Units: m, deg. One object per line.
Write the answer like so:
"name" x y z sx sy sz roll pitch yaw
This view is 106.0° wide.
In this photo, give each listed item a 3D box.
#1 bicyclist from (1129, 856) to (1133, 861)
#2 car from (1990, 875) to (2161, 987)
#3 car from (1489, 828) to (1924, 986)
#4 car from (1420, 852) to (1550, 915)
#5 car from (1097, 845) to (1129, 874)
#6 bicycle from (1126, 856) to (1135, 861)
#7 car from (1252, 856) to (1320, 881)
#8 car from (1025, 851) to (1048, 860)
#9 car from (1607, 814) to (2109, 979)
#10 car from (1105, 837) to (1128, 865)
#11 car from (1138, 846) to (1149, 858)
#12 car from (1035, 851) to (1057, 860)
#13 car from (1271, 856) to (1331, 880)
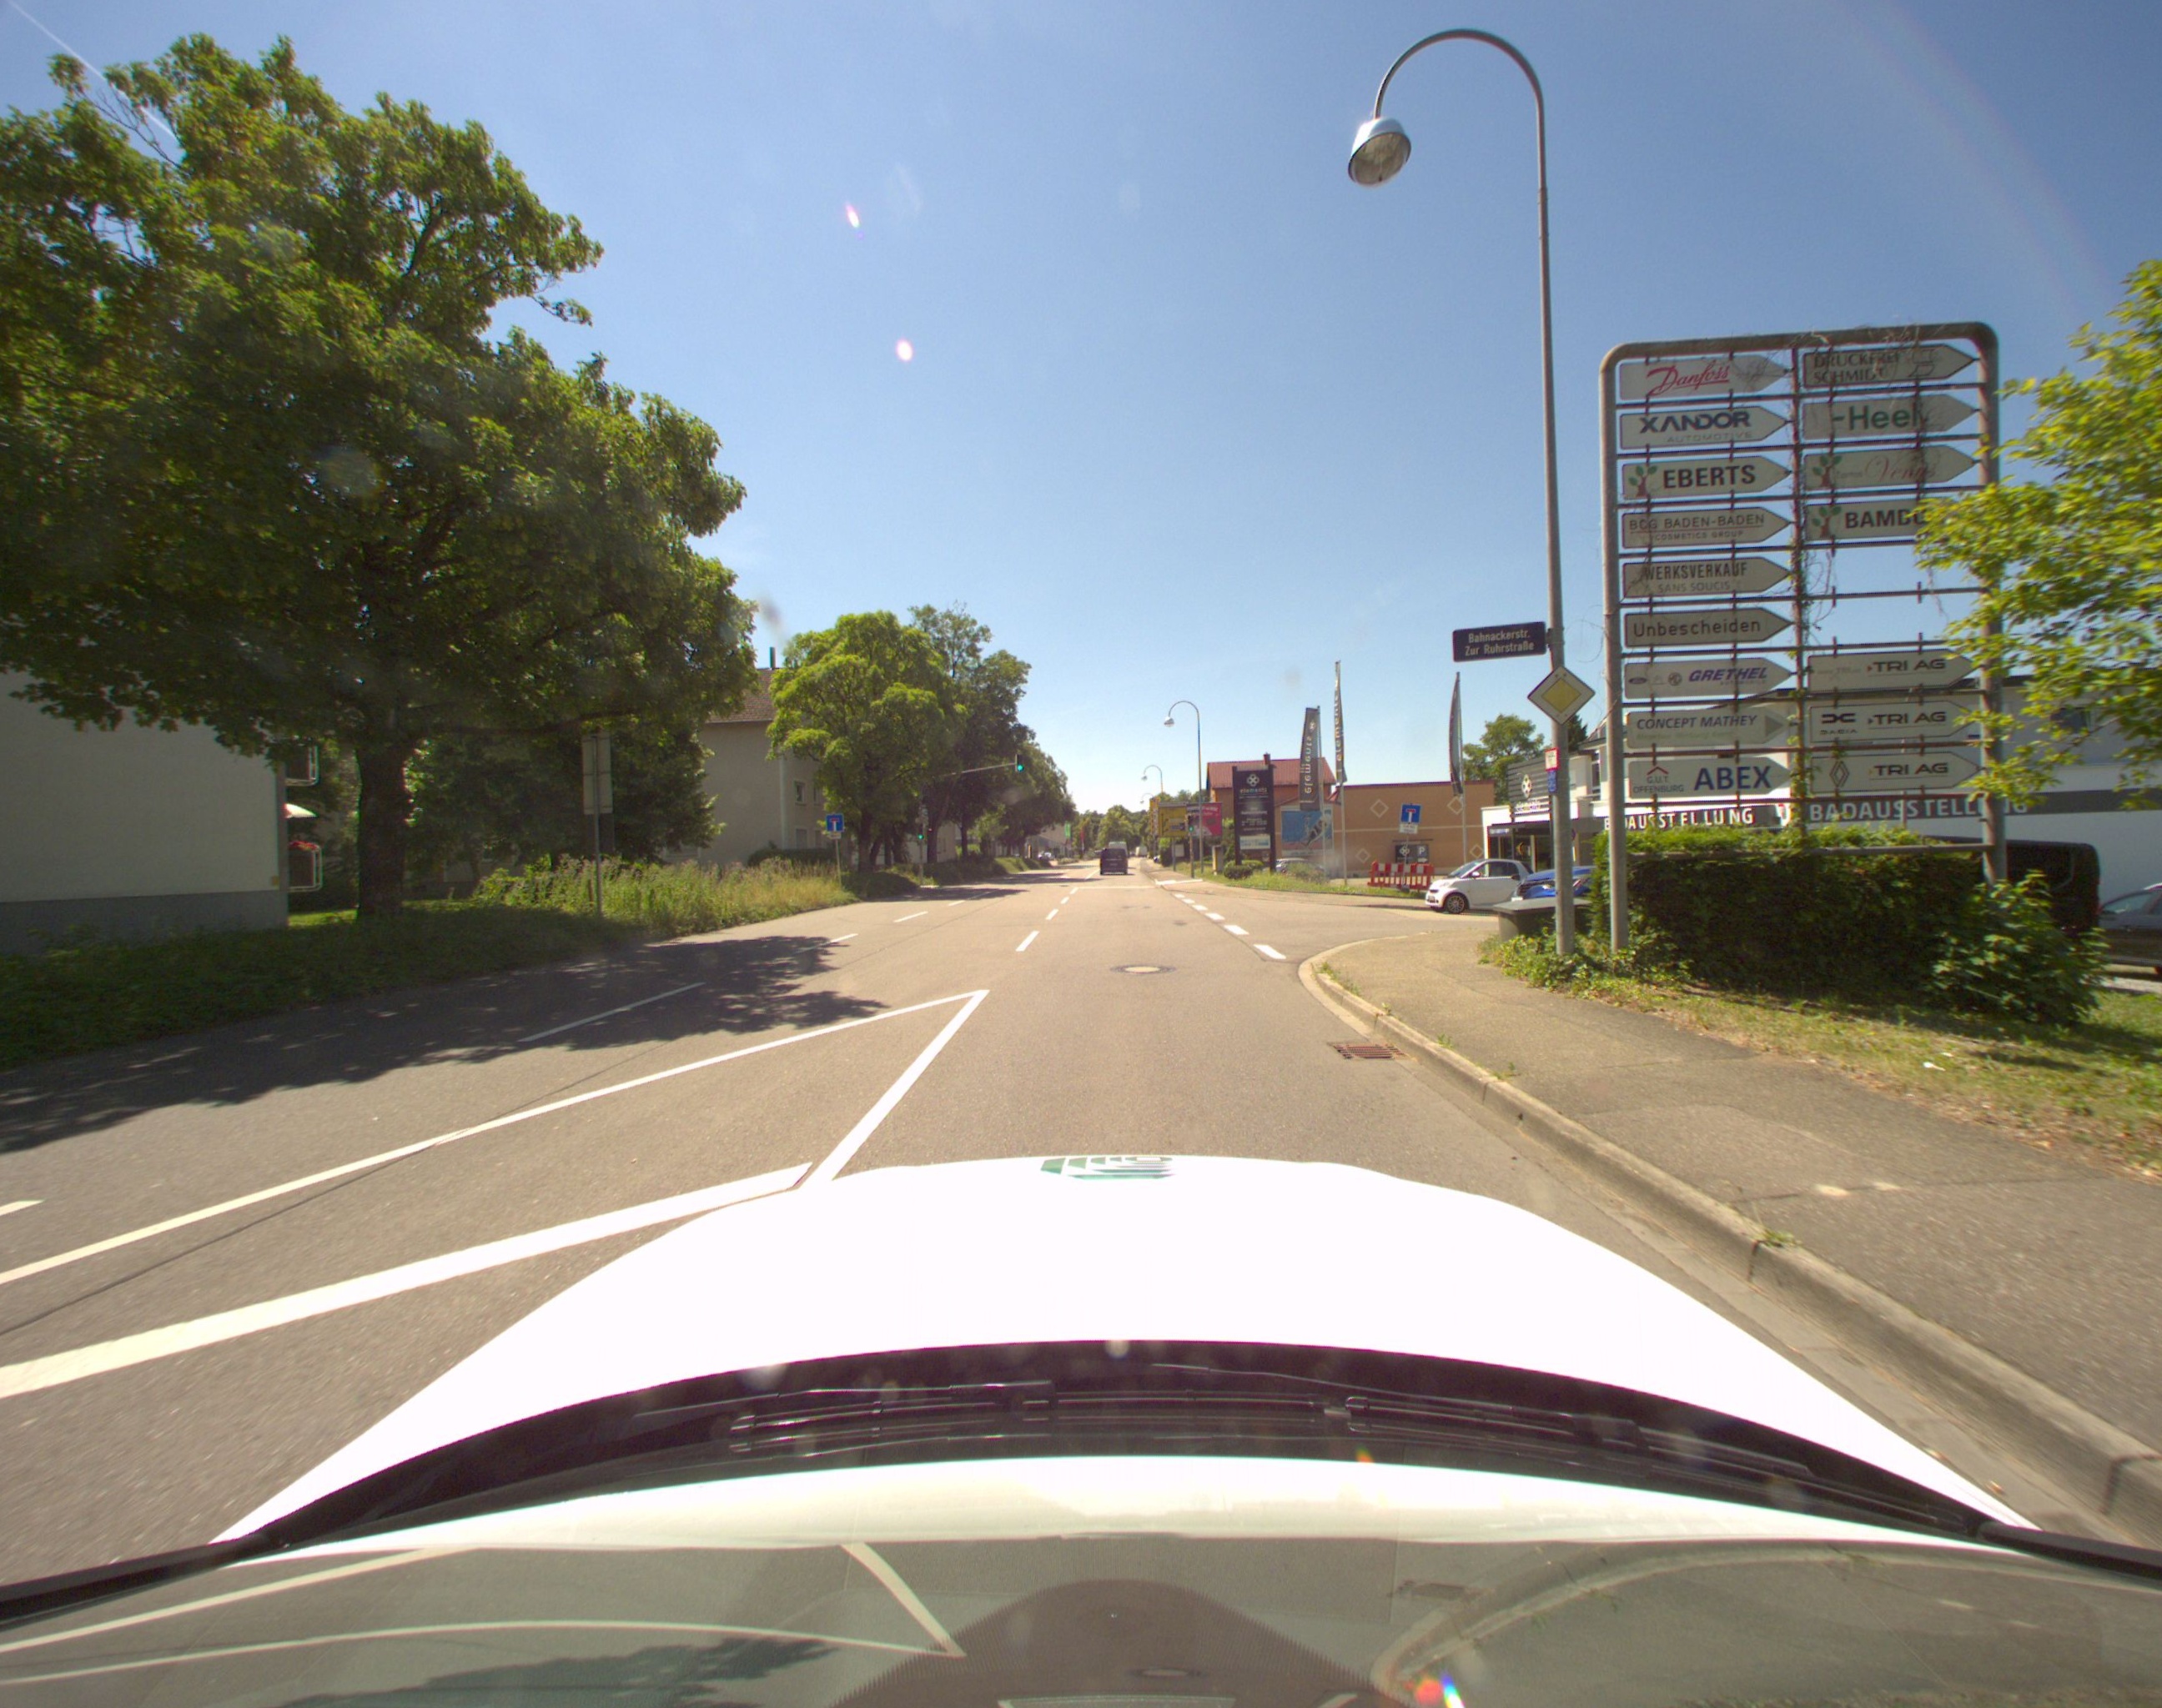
"bicyclist" 9.628 0.809 156.234 0.470 0.853 0.554 -3 3 -20
"car" 17.889 1.236 13.522 1.809 1.657 4.388 1 0 19
"car" 7.808 0.613 10.632 4.040 1.514 1.862 5 -1 13
"car" 10.824 0.788 21.972 2.752 1.520 1.599 2 -2 7
"car" 2.174 0.346 55.791 1.987 1.893 3.999 -1 1 -1
"bicycle" 9.517 0.940 156.194 1.721 0.887 0.554 -3 3 -20
"car" 13.970 0.972 55.688 4.252 1.646 1.892 -1 1 4
"car" -8.479 0.329 154.675 4.008 1.706 1.913 0 1 20
"car" 11.262 0.477 12.540 5.210 1.899 2.010 4 2 33
"car" 3.572 -0.376 81.328 2.111 2.677 5.667 -1 1 3
"car" 14.223 -0.518 186.472 2.344 2.546 4.958 -1 1 2
"car" -7.024 0.234 162.388 3.960 1.662 2.007 0 1 12
"car" 16.504 1.036 61.286 4.233 1.599 1.895 -2 1 9
